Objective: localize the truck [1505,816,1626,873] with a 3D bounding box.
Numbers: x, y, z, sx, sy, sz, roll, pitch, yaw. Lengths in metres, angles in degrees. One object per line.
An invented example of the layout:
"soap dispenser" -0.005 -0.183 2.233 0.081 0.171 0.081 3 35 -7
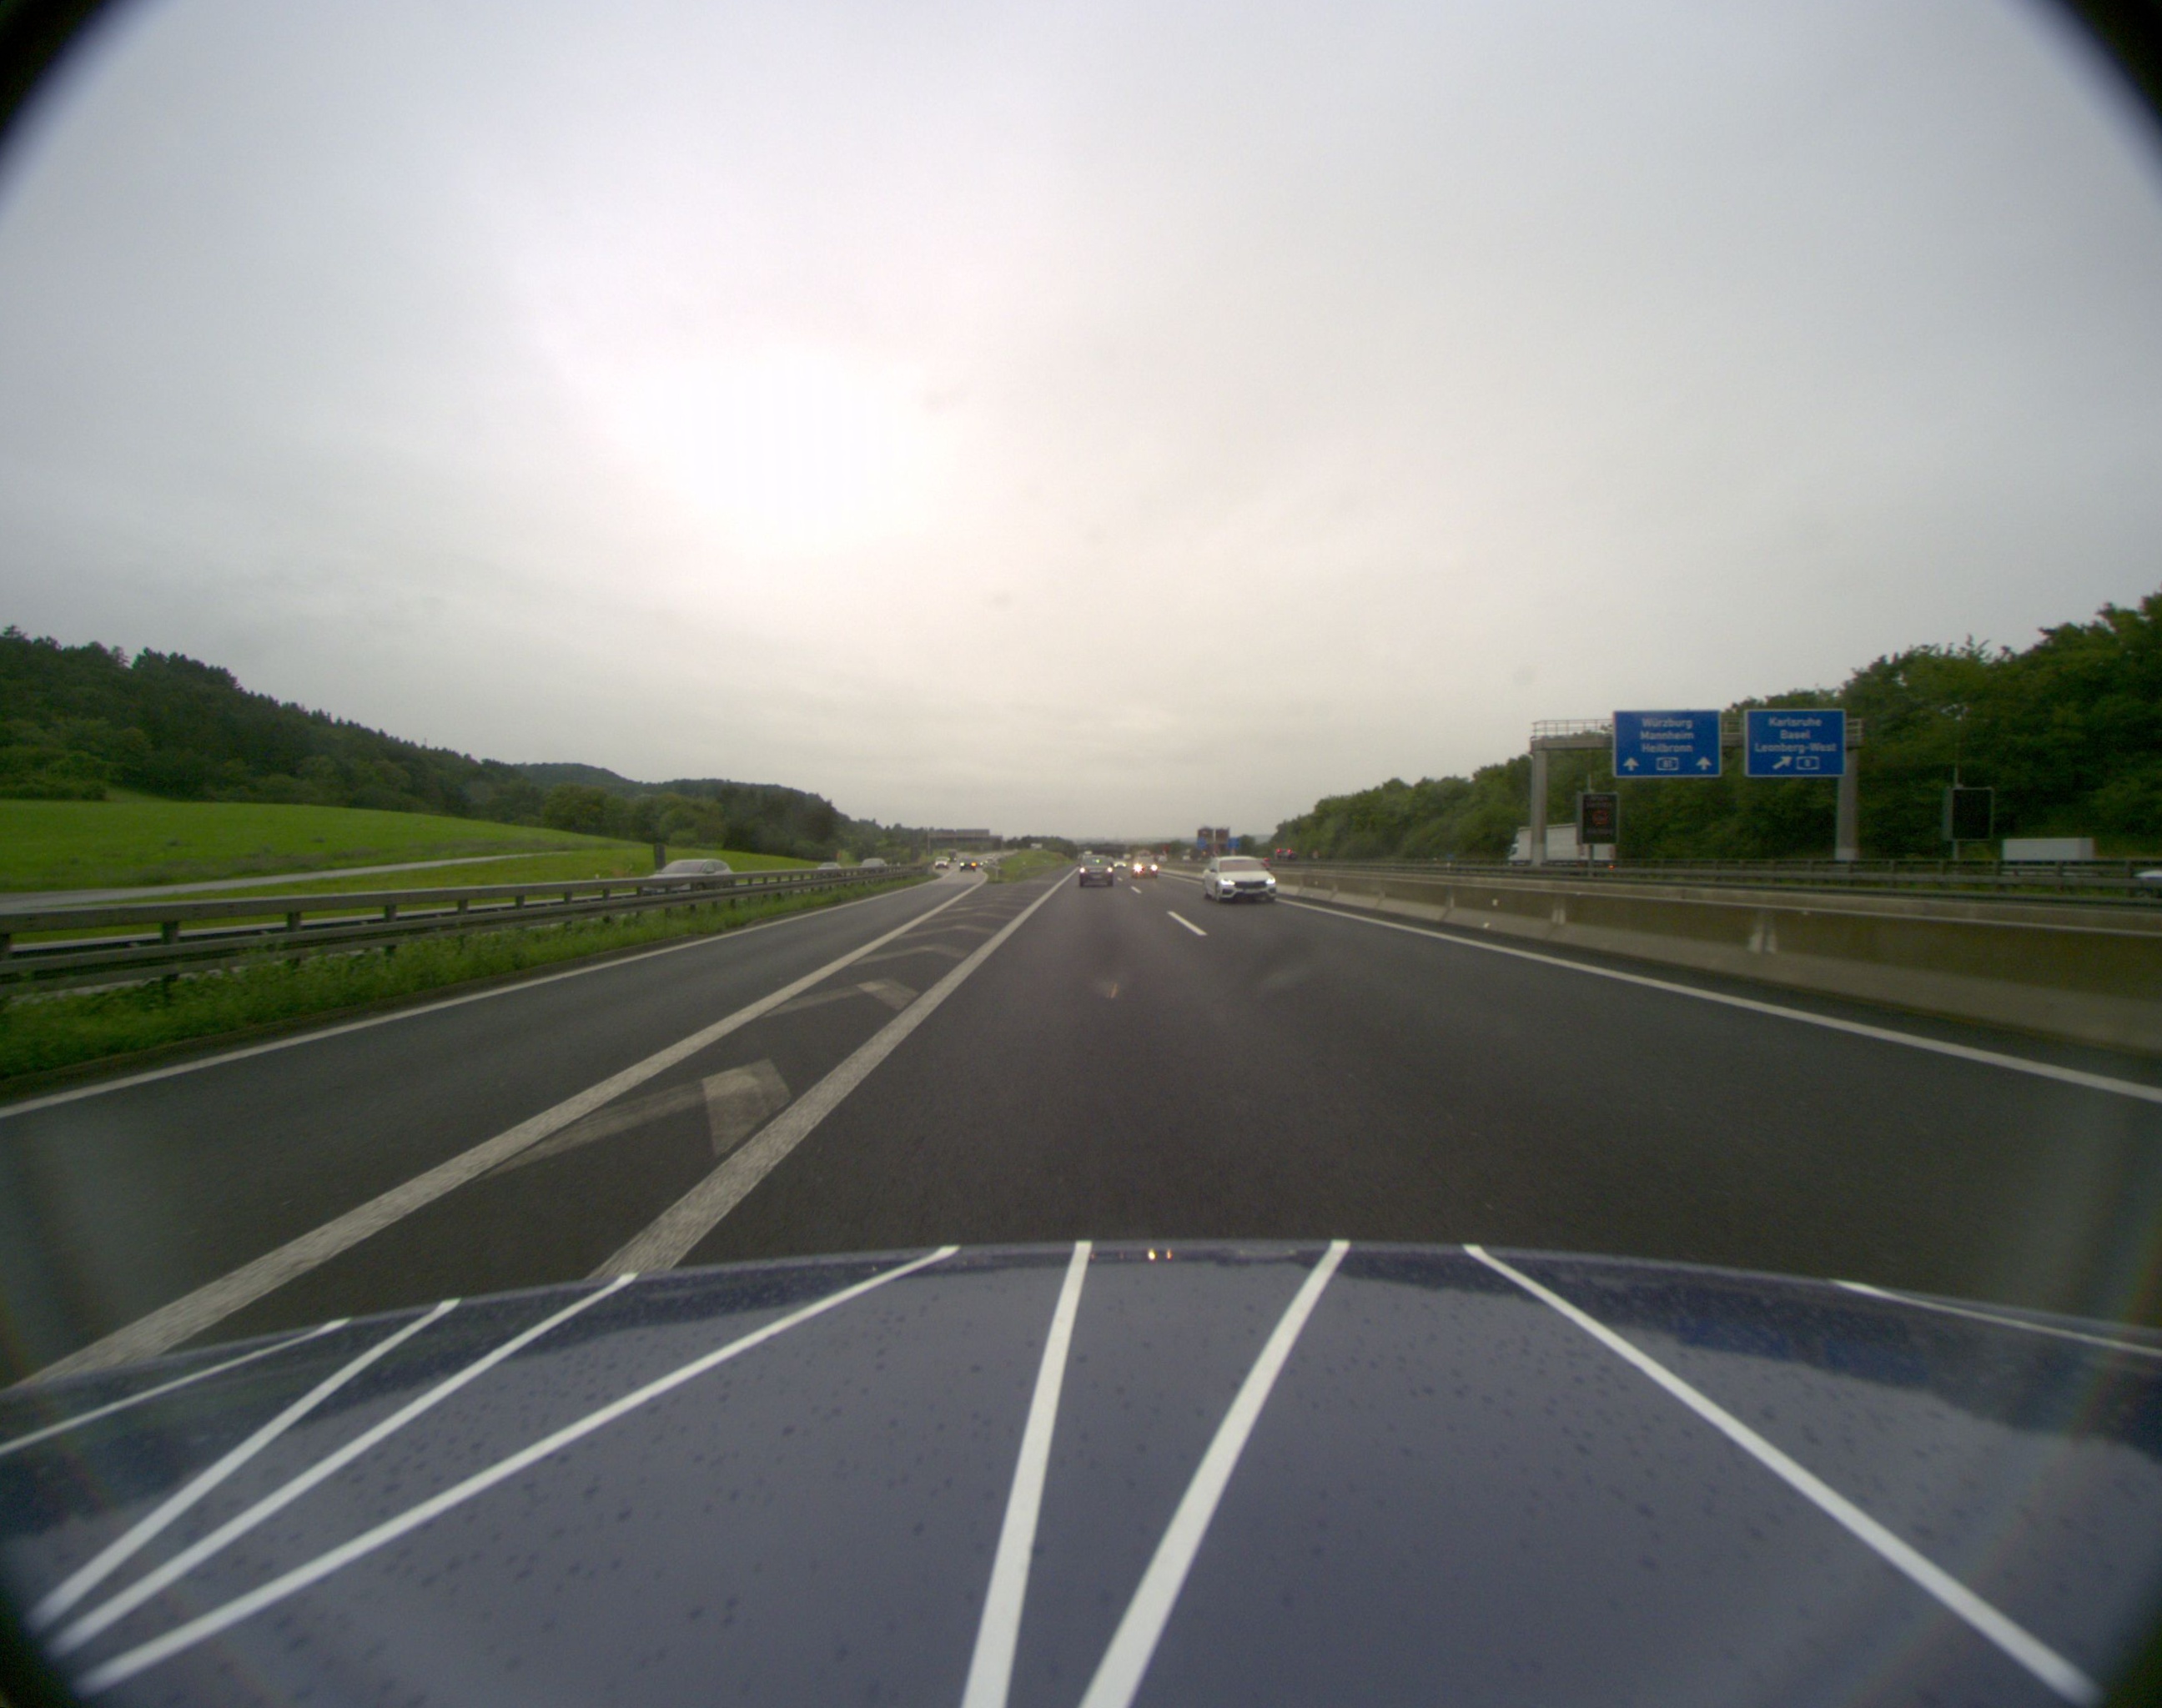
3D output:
"truck" 36.155 -0.686 57.311 3.082 3.856 9.634 -2 1 1

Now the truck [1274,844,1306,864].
"truck" 34.057 -0.036 124.297 2.858 3.202 9.078 -2 1 1

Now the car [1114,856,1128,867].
"car" 5.854 1.090 111.663 1.725 1.481 4.567 -2 1 1

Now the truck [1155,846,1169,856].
"truck" 19.618 -0.689 184.847 2.582 2.327 7.341 -2 1 1

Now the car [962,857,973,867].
"car" -24.488 1.619 164.551 2.131 2.002 5.074 -2 1 -6

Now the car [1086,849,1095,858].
"car" 2.184 -0.170 182.116 2.016 1.994 4.566 -2 1 -1

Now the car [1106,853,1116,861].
"car" 5.929 0.633 150.725 1.726 1.481 4.566 -2 1 -1

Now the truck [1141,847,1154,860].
"truck" 21.079 -0.210 241.361 2.934 3.855 16.089 -2 0 1

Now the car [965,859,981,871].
"car" -13.464 1.344 94.511 1.868 1.349 4.563 -2 1 -9

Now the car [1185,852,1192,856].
"car" 36.048 -0.050 254.860 1.823 1.448 4.777 -2 1 -1

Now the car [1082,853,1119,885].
"car" 1.002 0.790 41.195 1.813 1.571 3.834 -2 1 0

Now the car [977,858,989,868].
"car" -17.991 1.627 139.358 1.914 1.684 4.716 -2 1 -5

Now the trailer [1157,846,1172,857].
"trailer" 19.473 -0.624 177.338 2.582 2.327 7.946 -2 1 1

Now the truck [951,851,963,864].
"truck" -39.432 0.998 241.759 2.799 3.878 10.024 -2 1 -4

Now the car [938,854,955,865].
"car" -20.948 0.843 118.532 1.914 1.684 4.717 -2 1 -4

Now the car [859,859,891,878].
"car" -16.046 1.111 59.417 1.672 1.374 4.124 -2 1 -5

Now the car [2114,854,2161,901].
"car" 35.815 0.779 23.724 1.680 1.448 4.000 -2 1 1

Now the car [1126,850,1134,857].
"car" 16.810 -0.165 261.361 2.135 2.308 5.691 -2 1 -1

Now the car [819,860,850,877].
"car" -24.157 1.386 74.566 1.904 1.446 4.707 -2 1 -6

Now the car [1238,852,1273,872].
"car" 13.623 0.599 59.442 1.760 1.448 4.418 -2 1 1

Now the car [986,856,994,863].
"car" -22.602 1.384 188.821 1.914 1.684 4.716 -2 1 -5

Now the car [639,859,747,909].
"car" -14.344 1.027 28.412 1.774 1.600 4.642 -2 1 -3

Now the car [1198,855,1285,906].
"car" 5.181 0.793 25.177 1.823 1.448 4.777 -2 1 -1

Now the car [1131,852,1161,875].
"car" 4.667 0.652 55.418 1.726 1.481 4.566 -2 1 -1

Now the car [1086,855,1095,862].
"car" 2.253 1.074 175.595 1.919 1.481 4.566 -2 1 -1
